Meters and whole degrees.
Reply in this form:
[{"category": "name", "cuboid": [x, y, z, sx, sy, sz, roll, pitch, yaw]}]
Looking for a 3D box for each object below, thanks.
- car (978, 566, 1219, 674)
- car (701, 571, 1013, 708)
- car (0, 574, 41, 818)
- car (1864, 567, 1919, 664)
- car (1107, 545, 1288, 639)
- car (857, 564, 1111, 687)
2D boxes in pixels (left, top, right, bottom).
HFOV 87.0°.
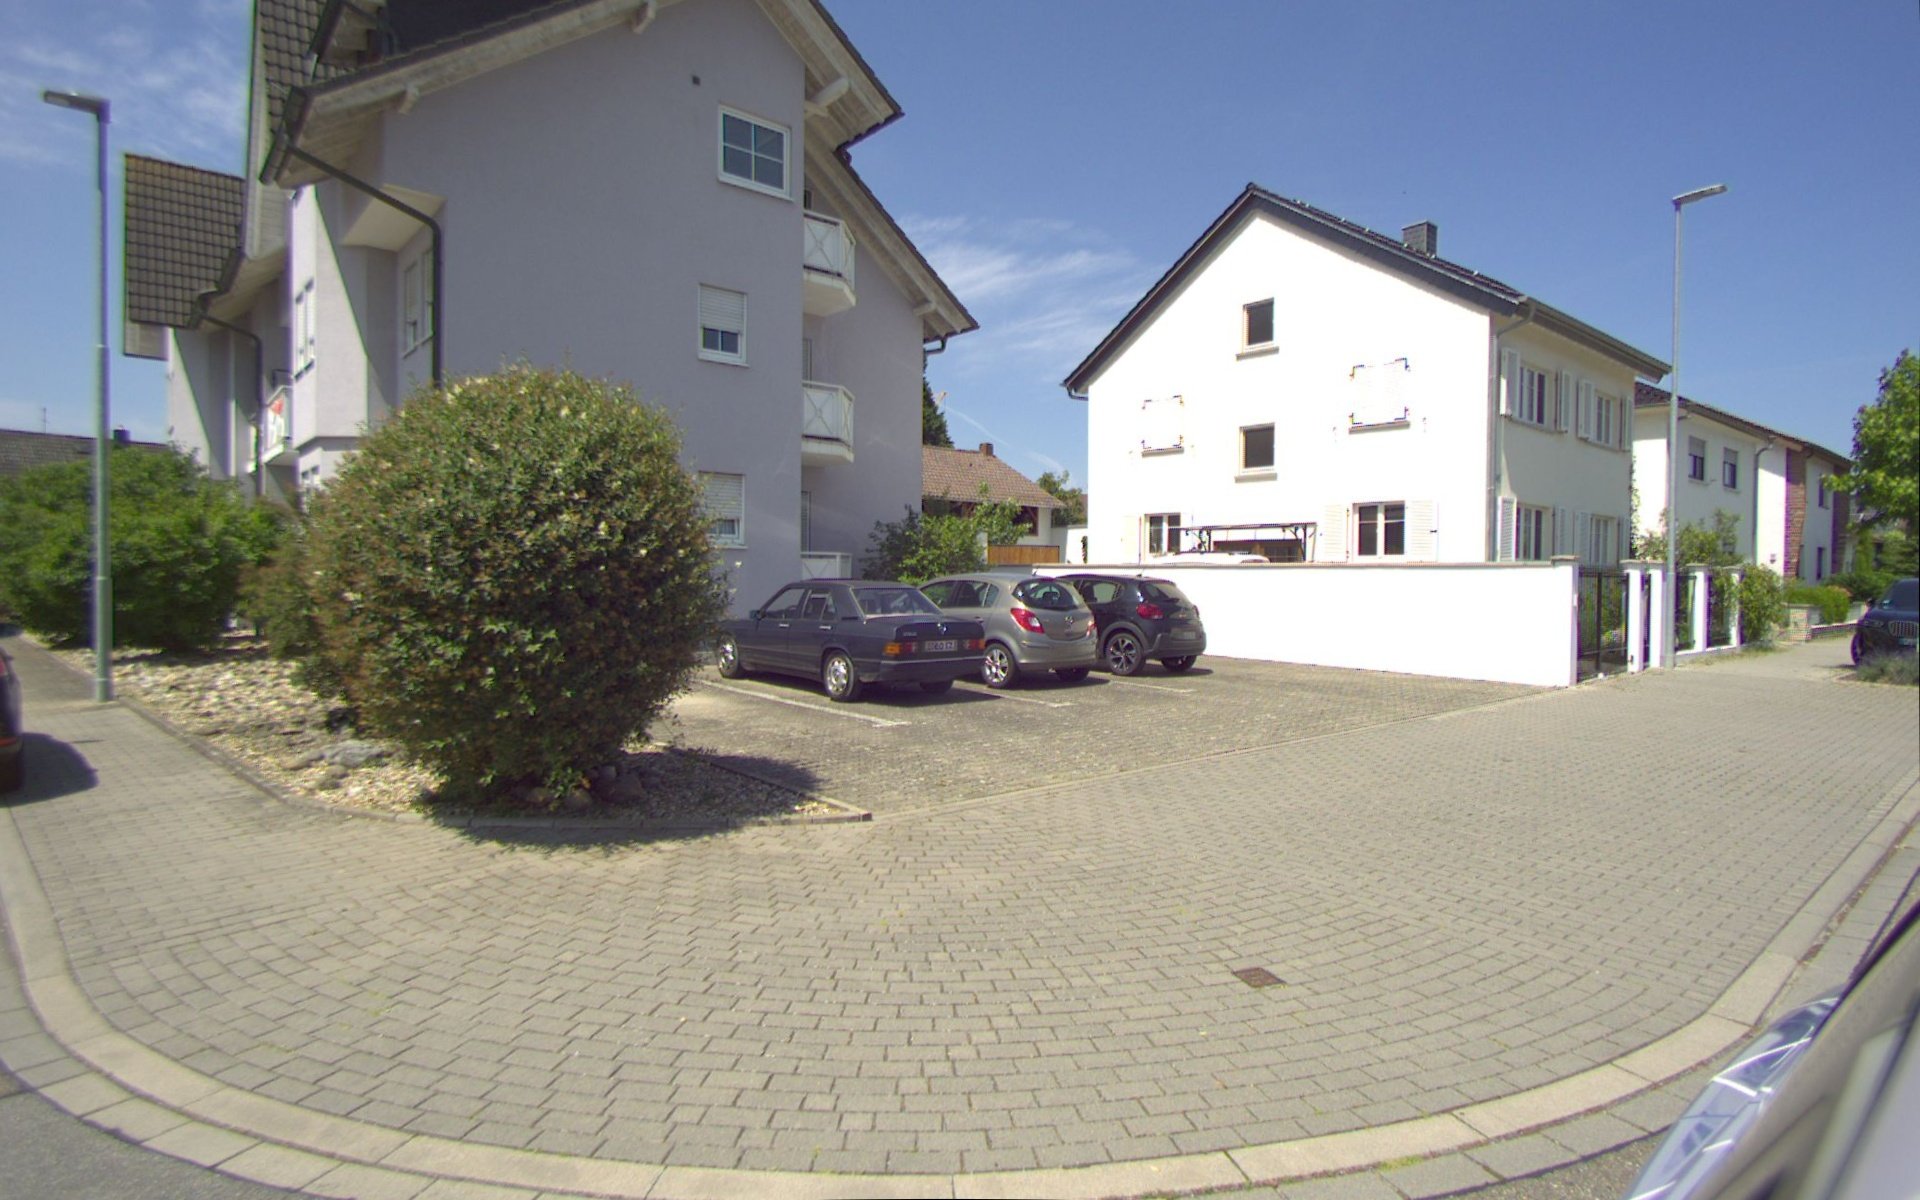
[{"category": "car", "cuboid": [2.125, 0.232, 16.021, 3.500, 1.515, 1.638, 2, 2, 44]}, {"category": "car", "cuboid": [-1.424, 0.358, 12.582, 1.637, 1.391, 4.205, -1, 2, -44]}, {"category": "car", "cuboid": [-7.844, 0.571, 7.171, 3.992, 1.486, 1.728, 2, 2, 44]}, {"category": "car", "cuboid": [18.434, 0.265, 18.831, 4.484, 1.677, 1.818, 0, 1, -41]}, {"category": "car", "cuboid": [5.030, -0.214, 21.708, 1.741, 1.835, 3.392, 0, 2, -41]}, {"category": "car", "cuboid": [0.254, 0.265, 14.252, 1.637, 1.513, 3.448, -1, 2, -44]}]
